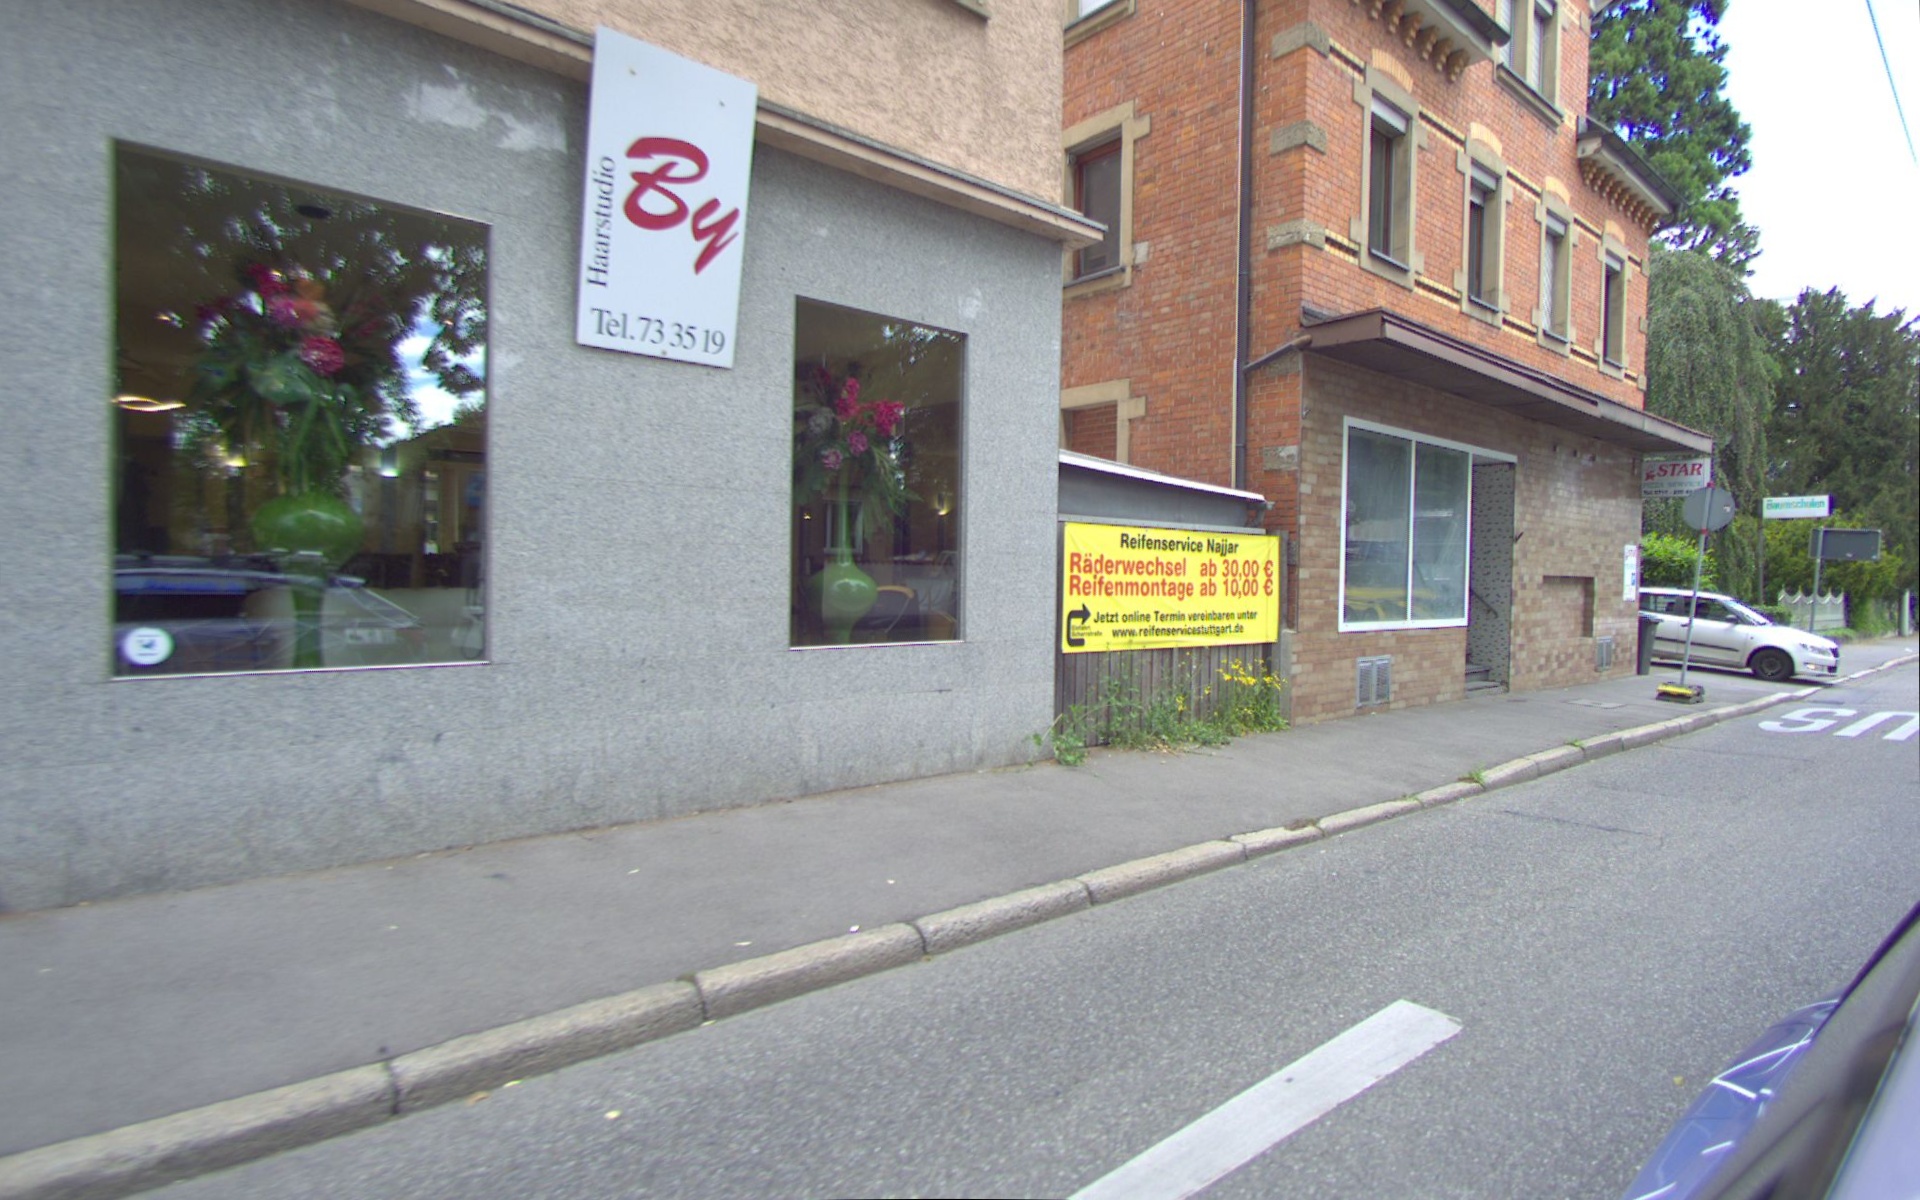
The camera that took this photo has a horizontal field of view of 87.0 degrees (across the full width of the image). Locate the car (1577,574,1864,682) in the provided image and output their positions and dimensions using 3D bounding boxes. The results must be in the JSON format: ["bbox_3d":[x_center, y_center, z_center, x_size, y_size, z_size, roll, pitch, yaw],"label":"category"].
[{"bbox_3d":[14.257,0.426,19.159,1.574,1.487,4.038,-1,6,-42],"label":"car"}]

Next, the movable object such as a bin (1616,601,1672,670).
[{"bbox_3d":[11.786,0.605,17.432,0.611,1.114,0.608,0,4,-40],"label":"movable object such as a bin"}]
